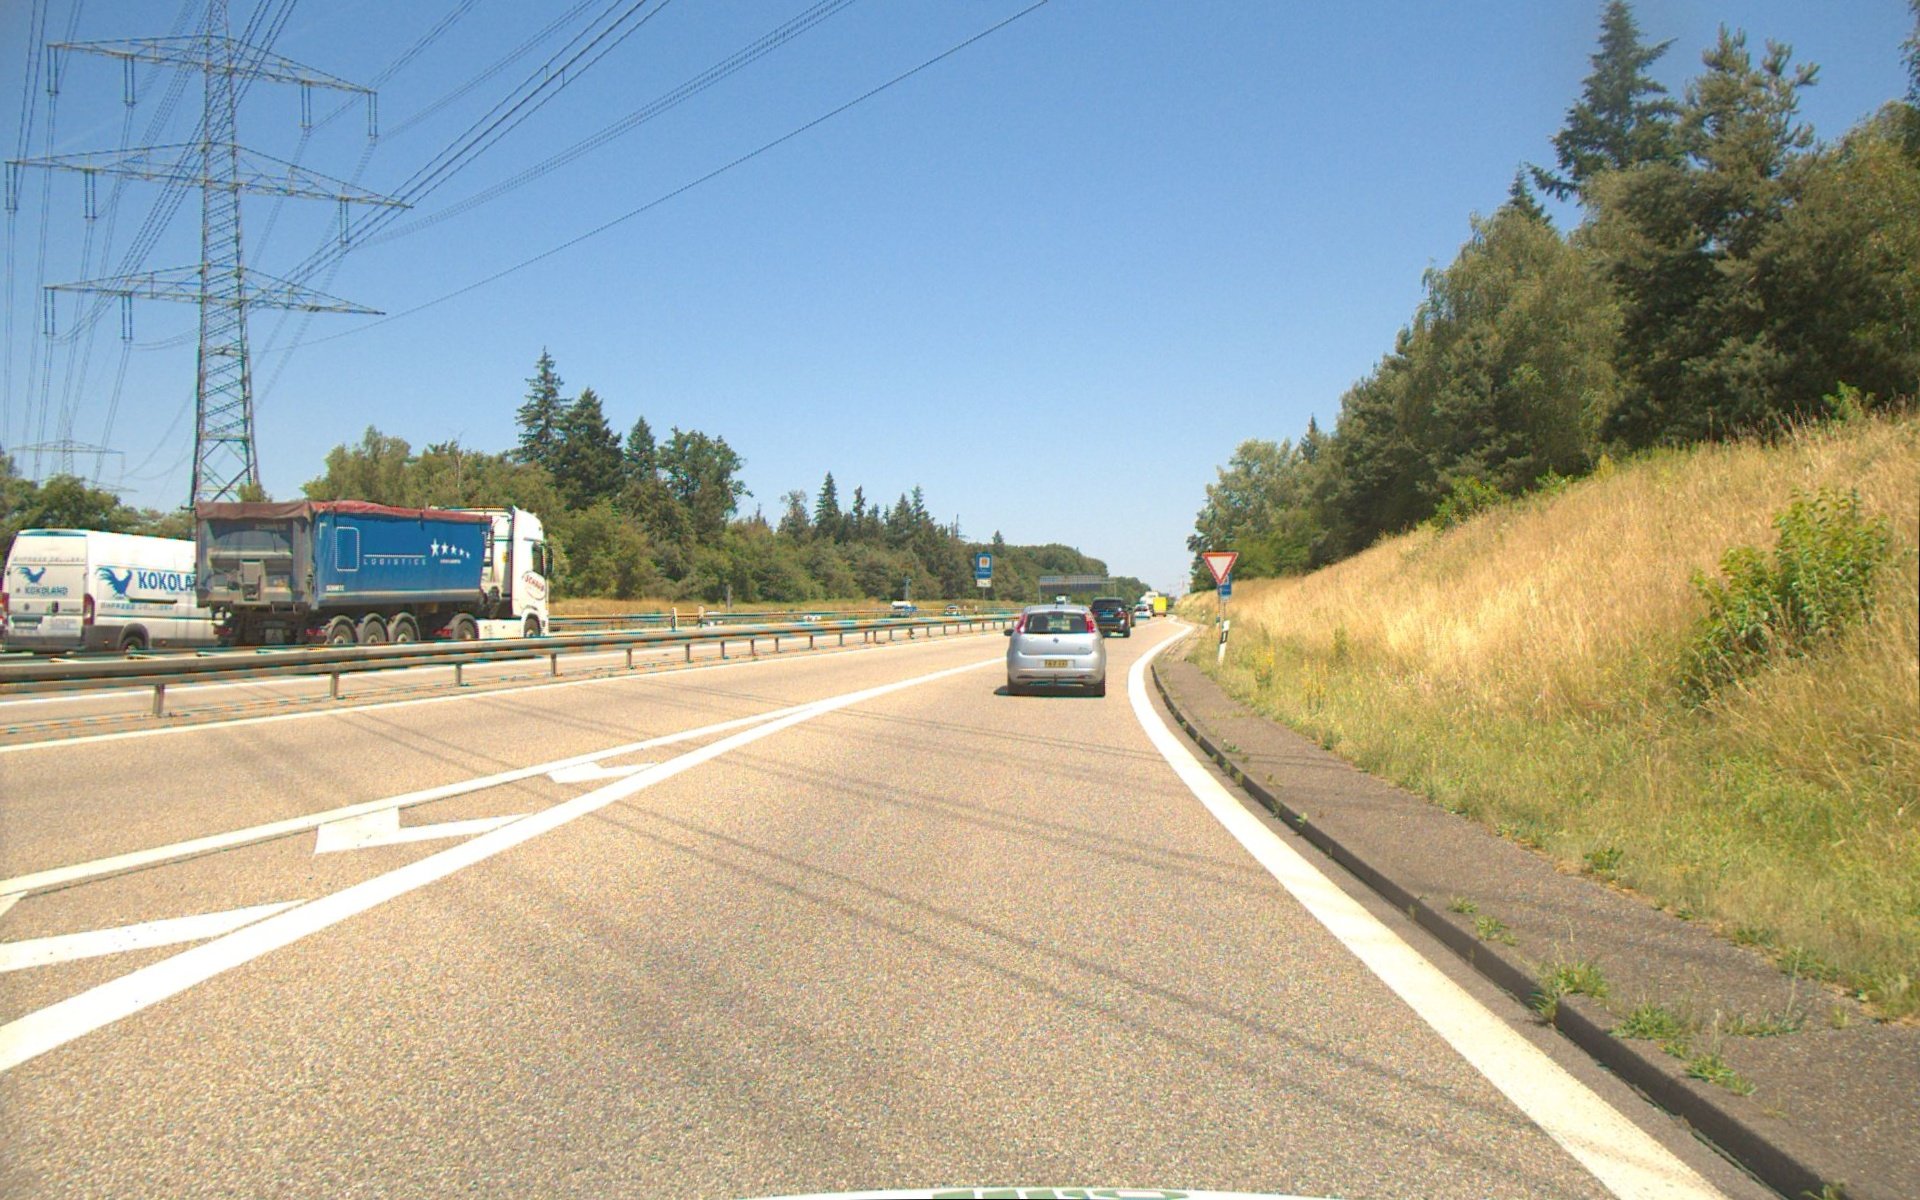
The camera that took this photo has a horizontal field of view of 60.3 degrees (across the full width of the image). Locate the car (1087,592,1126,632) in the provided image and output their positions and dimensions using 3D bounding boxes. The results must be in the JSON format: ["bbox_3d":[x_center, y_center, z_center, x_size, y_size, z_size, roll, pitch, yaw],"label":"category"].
[{"bbox_3d":[6.603,0.550,74.229,1.670,1.706,3.399,0,-2,6],"label":"car"}]

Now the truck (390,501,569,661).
[{"bbox_3d":[-12.217,-0.462,42.449,2.697,3.874,4.626,0,0,9],"label":"truck"}]

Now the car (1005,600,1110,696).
[{"bbox_3d":[1.678,0.768,28.251,1.670,1.507,3.399,1,0,4],"label":"car"}]

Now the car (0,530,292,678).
[{"bbox_3d":[-17.498,0.161,35.906,2.191,2.882,7.059,0,-1,9],"label":"car"}]

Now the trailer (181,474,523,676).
[{"bbox_3d":[-13.073,-0.464,36.859,2.712,3.874,9.893,0,0,9],"label":"trailer"}]
